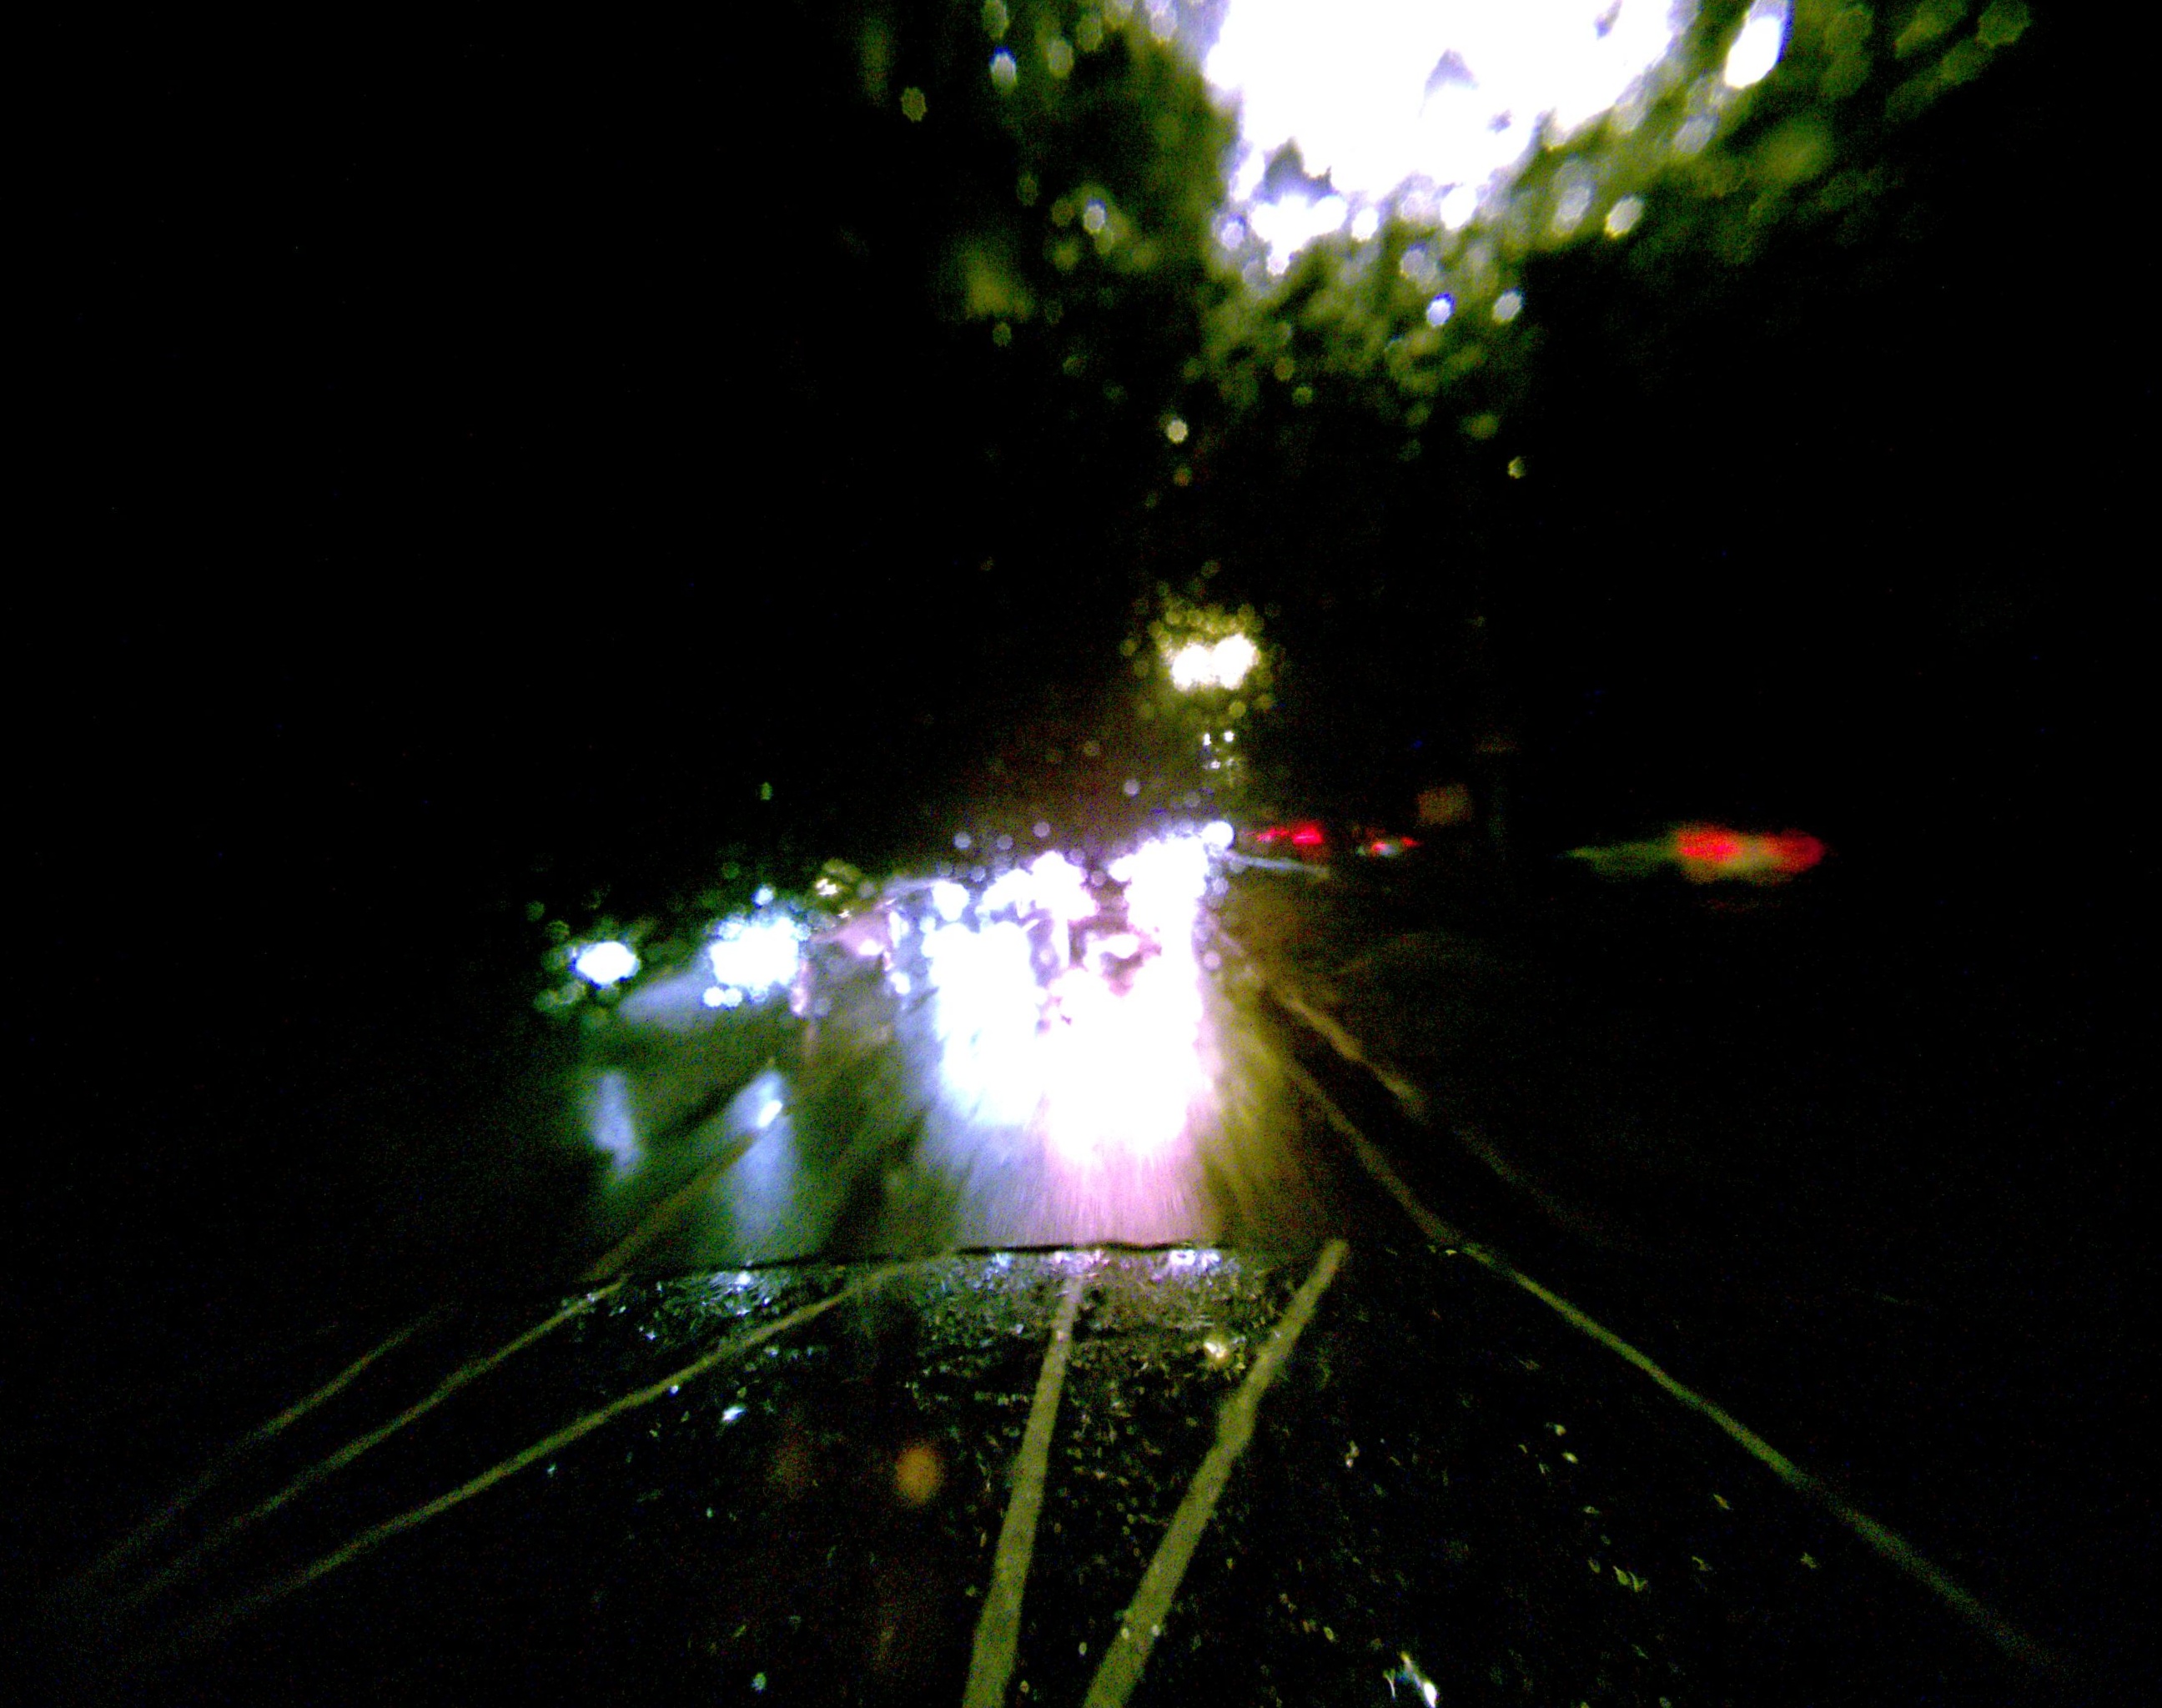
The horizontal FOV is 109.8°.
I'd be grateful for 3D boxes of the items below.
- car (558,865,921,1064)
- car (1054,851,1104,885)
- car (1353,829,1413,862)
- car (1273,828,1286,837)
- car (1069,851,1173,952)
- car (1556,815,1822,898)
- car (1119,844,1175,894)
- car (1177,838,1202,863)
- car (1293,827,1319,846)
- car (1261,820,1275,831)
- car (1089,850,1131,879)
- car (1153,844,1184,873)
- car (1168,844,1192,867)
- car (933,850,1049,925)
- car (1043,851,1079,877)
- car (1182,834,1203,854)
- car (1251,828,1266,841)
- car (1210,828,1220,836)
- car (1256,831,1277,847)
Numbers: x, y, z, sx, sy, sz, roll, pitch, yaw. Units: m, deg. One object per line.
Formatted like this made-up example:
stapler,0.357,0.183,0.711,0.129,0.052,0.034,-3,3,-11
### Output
car,-3.434,0.996,8.817,1.676,1.497,4.561,-5,0,6
car,-0.023,0.693,39.329,1.742,1.410,4.141,-4,2,11
car,14.742,-0.440,37.319,1.738,1.487,3.941,-1,1,6
car,31.760,-3.450,121.370,1.714,1.415,4.670,-1,1,11
car,0.725,0.733,13.441,1.496,1.416,3.390,-4,1,4
car,12.457,0.037,16.055,1.794,1.448,4.576,-2,0,-3
car,2.436,0.490,27.443,1.605,1.417,3.390,-6,2,10
car,9.856,-0.313,69.398,1.998,2.002,4.000,-5,2,6
car,20.304,-1.617,68.686,1.777,1.584,4.563,-3,1,11
car,36.124,-5.490,146.533,1.875,1.849,4.000,-5,2,5
car,1.911,0.618,48.210,1.997,1.589,4.394,-4,1,10
car,5.200,0.236,45.011,1.605,1.417,3.390,-6,2,8
car,7.643,0.085,58.429,1.605,1.417,3.390,-6,2,8
car,-2.236,0.791,20.185,1.710,1.513,4.416,-4,2,11
car,-1.270,0.625,50.086,1.742,1.410,4.140,-5,2,7
car,11.386,-1.083,77.825,1.967,1.784,4.001,-5,2,8
car,26.870,-2.963,115.275,1.769,1.622,4.250,-4,3,9
car,31.357,-5.097,177.182,1.997,1.670,4.002,-4,2,13
car,19.634,-1.573,80.317,1.852,1.562,3.509,-4,0,10
